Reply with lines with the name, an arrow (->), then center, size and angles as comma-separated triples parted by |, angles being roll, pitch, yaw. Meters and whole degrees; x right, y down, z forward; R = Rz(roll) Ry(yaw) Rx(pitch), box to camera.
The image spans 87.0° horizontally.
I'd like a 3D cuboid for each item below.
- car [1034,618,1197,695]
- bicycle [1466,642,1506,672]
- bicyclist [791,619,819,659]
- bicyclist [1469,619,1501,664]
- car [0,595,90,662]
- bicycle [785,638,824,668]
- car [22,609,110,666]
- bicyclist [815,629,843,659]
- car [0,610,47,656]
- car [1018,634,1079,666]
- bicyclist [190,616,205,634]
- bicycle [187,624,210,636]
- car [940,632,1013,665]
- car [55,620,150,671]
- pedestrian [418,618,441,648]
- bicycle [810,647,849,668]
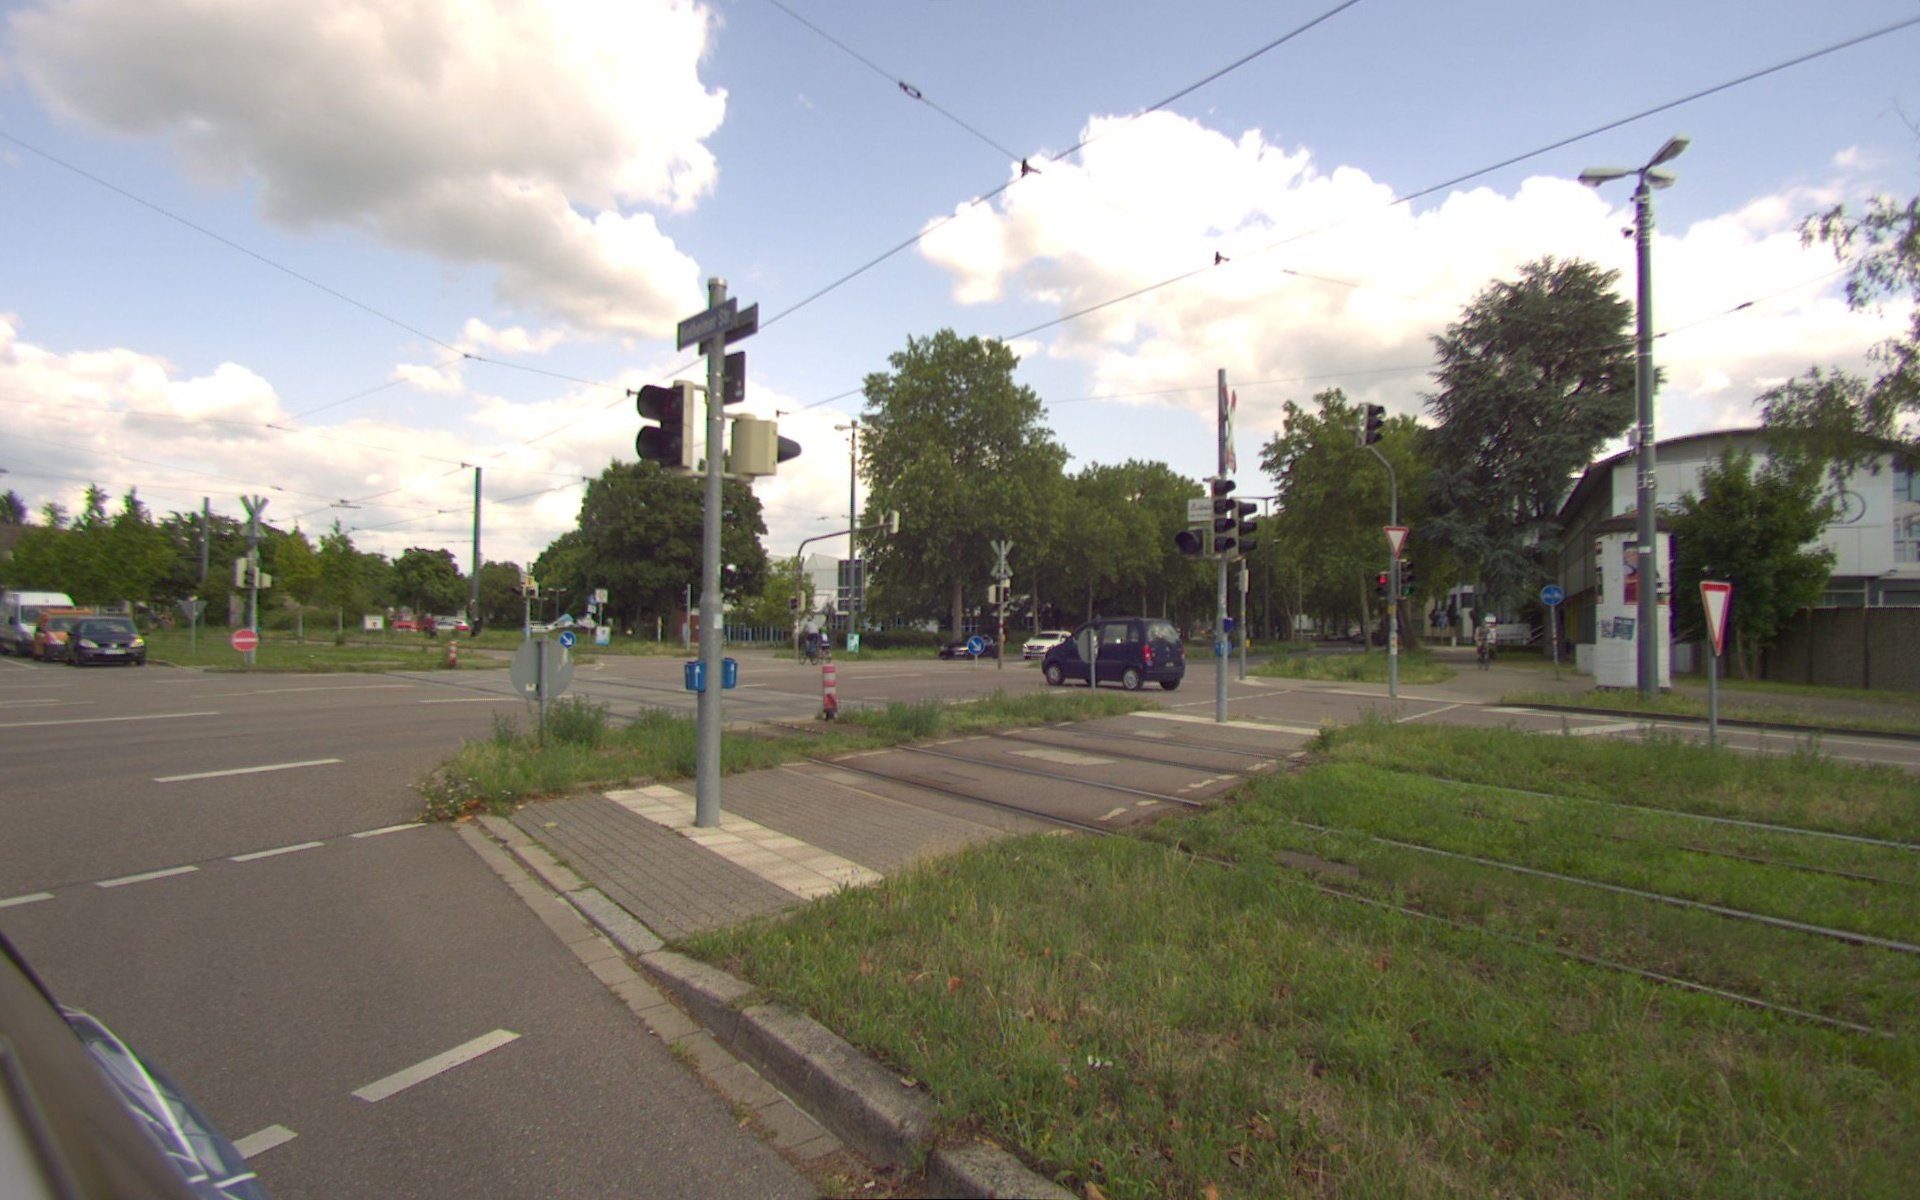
car -> 3.637, 1.287, 24.027 | 1.757, 1.639, 3.500 | 2, -2, -42
bicycle -> 19.455, 2.104, 37.496 | 0.797, 1.068, 2.060 | -2, -3, 14
bicyclist -> -5.729, 1.437, 37.471 | 0.615, 1.468, 0.930 | 2, -2, -38
bicyclist -> 19.446, 1.528, 37.498 | 0.796, 1.647, 1.013 | -1, -3, 14
car -> -37.309, 1.128, 40.944 | 5.720, 2.526, 2.211 | -1, -2, 40
bicycle -> -5.774, 1.953, 37.499 | 0.637, 1.088, 1.808 | 2, -2, -38
car -> -32.384, 1.331, 36.630 | 4.366, 1.950, 1.772 | -1, -2, 41
bicyclist -> -4.981, 1.665, 38.439 | 0.631, 1.121, 0.930 | 2, -2, -38
car -> -41.775, 1.422, 44.527 | 4.365, 1.950, 1.772 | -1, -2, 40
car -> 4.585, 2.517, 51.744 | 1.692, 1.535, 3.872 | 0, -2, 29
bicyclist -> -65.902, 2.182, 87.450 | 0.828, 1.481, 0.797 | -2, -3, 29
bicycle -> -65.750, 2.595, 87.354 | 2.060, 1.068, 0.796 | -2, -3, 29
car -> 0.858, 2.389, 50.579 | 1.697, 1.535, 3.807 | 0, -2, 38
car -> -27.731, 1.419, 32.688 | 3.998, 1.551, 1.772 | -1, -2, 41
pedestrian -> -33.553, 2.092, 64.004 | 1.001, 1.882, 0.897 | -1, -2, 37
bicycle -> -4.942, 2.179, 38.367 | 0.637, 0.723, 1.808 | 2, -2, -38
